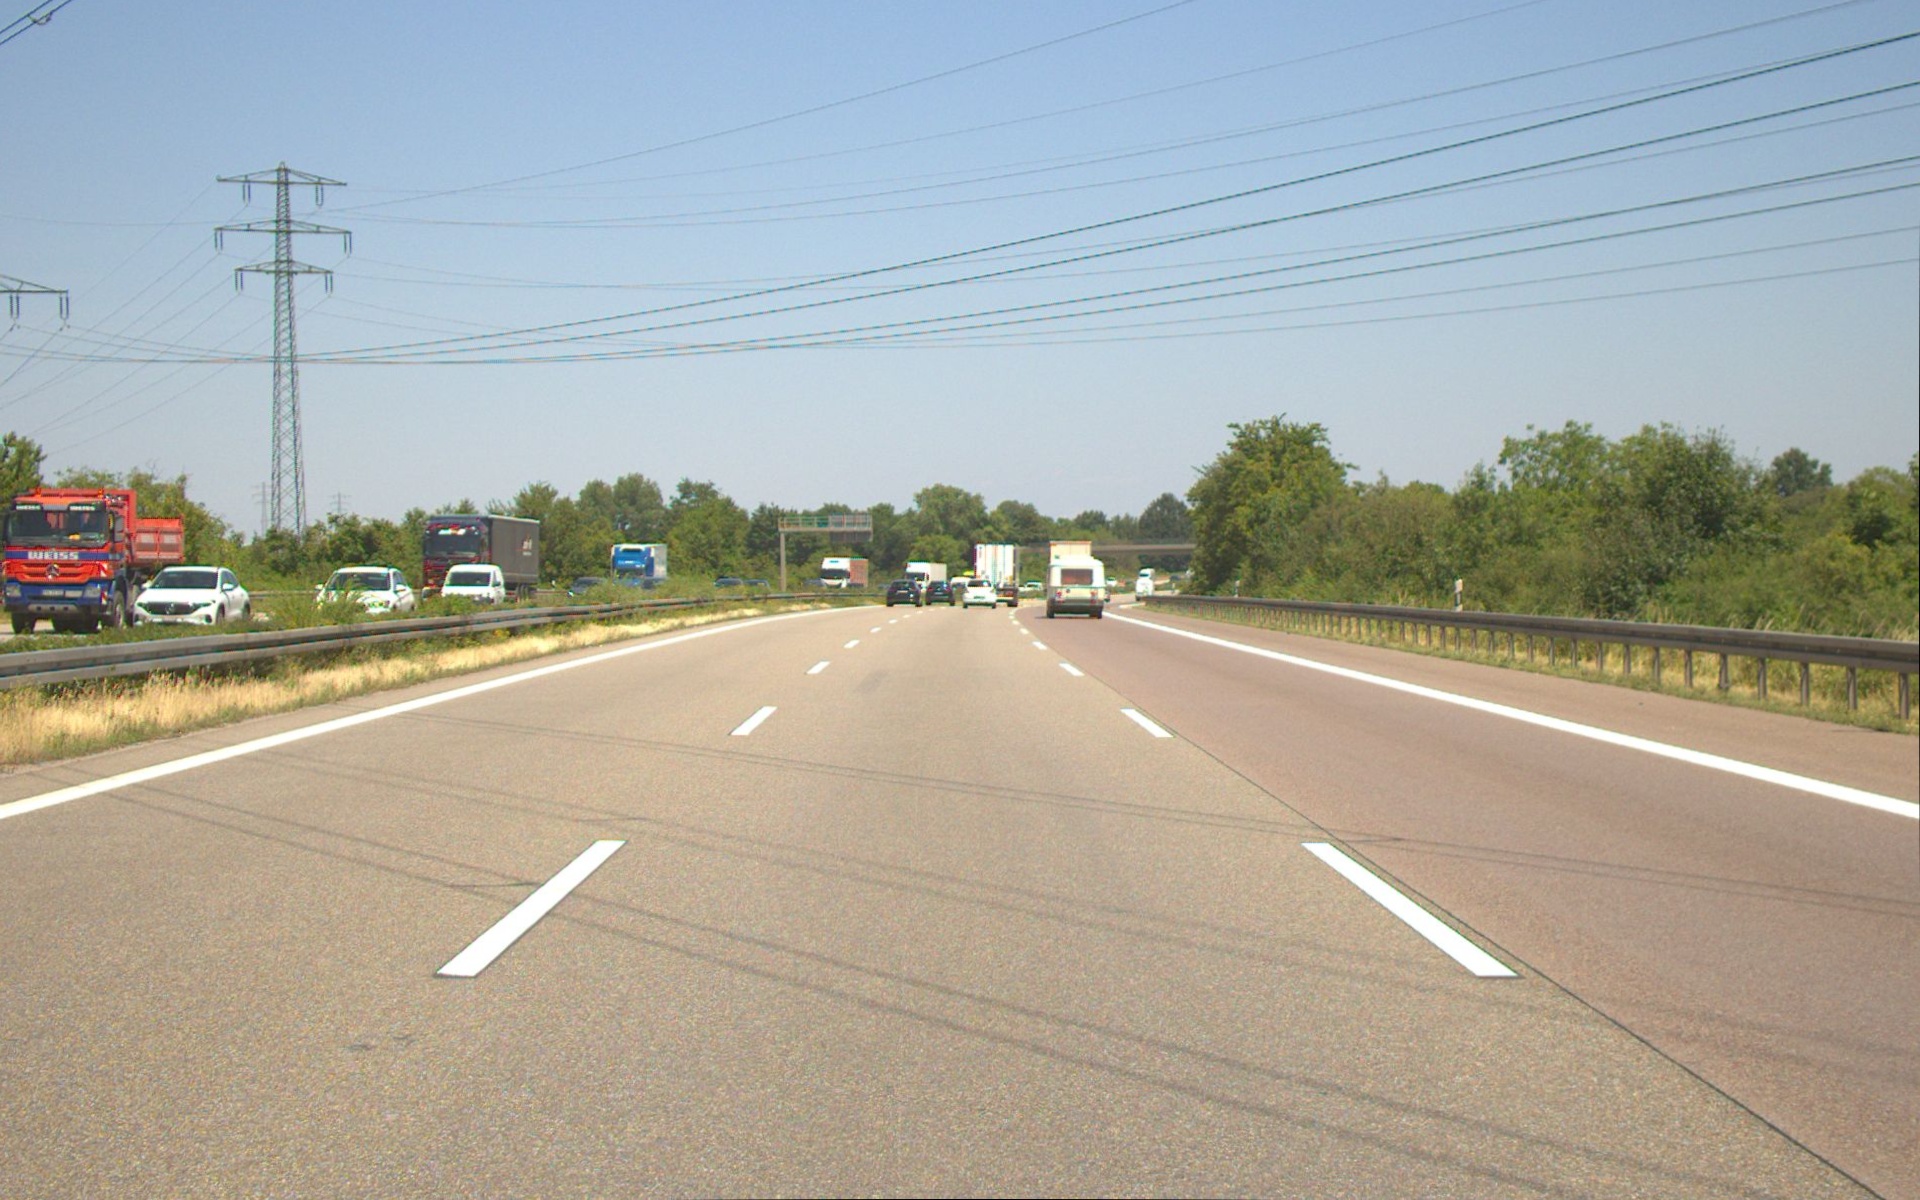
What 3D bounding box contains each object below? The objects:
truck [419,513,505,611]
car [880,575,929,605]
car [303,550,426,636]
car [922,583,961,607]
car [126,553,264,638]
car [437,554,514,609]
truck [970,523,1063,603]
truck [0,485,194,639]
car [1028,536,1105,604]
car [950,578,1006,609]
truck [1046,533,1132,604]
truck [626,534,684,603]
[{"bbox_3d":[-20.849,-1.583,144.274,2.648,3.969,5.991,1,0,0],"label":"truck"},{"bbox_3d":[-2.962,-0.530,183.433,1.828,1.542,4.317,2,1,9],"label":"car"},{"bbox_3d":[-13.495,-0.182,78.115,1.993,1.846,4.535,1,1,0],"label":"car"},{"bbox_3d":[-1.237,-0.363,228.732,1.828,1.542,4.317,2,1,9],"label":"car"},{"bbox_3d":[-16.696,-0.132,75.241,1.993,1.755,4.535,1,1,0],"label":"car"},{"bbox_3d":[-16.352,-0.636,116.304,1.971,1.767,4.368,1,1,0],"label":"car"},{"bbox_3d":[3.798,-2.438,224.524,3.668,5.001,16.011,1,1,10],"label":"truck"},{"bbox_3d":[-21.057,-0.966,83.894,2.770,3.515,8.534,1,1,0],"label":"truck"},{"bbox_3d":[3.712,-1.076,121.054,2.442,2.313,5.322,0,1,-1],"label":"car"},{"bbox_3d":[0.943,-0.347,176.752,1.829,1.542,4.316,2,1,14],"label":"car"},{"bbox_3d":[8.263,-2.050,218.263,3.182,4.290,16.010,1,1,10],"label":"truck"},{"bbox_3d":[-18.034,-1.918,203.948,2.453,3.962,9.671,-1,1,0],"label":"truck"}]
